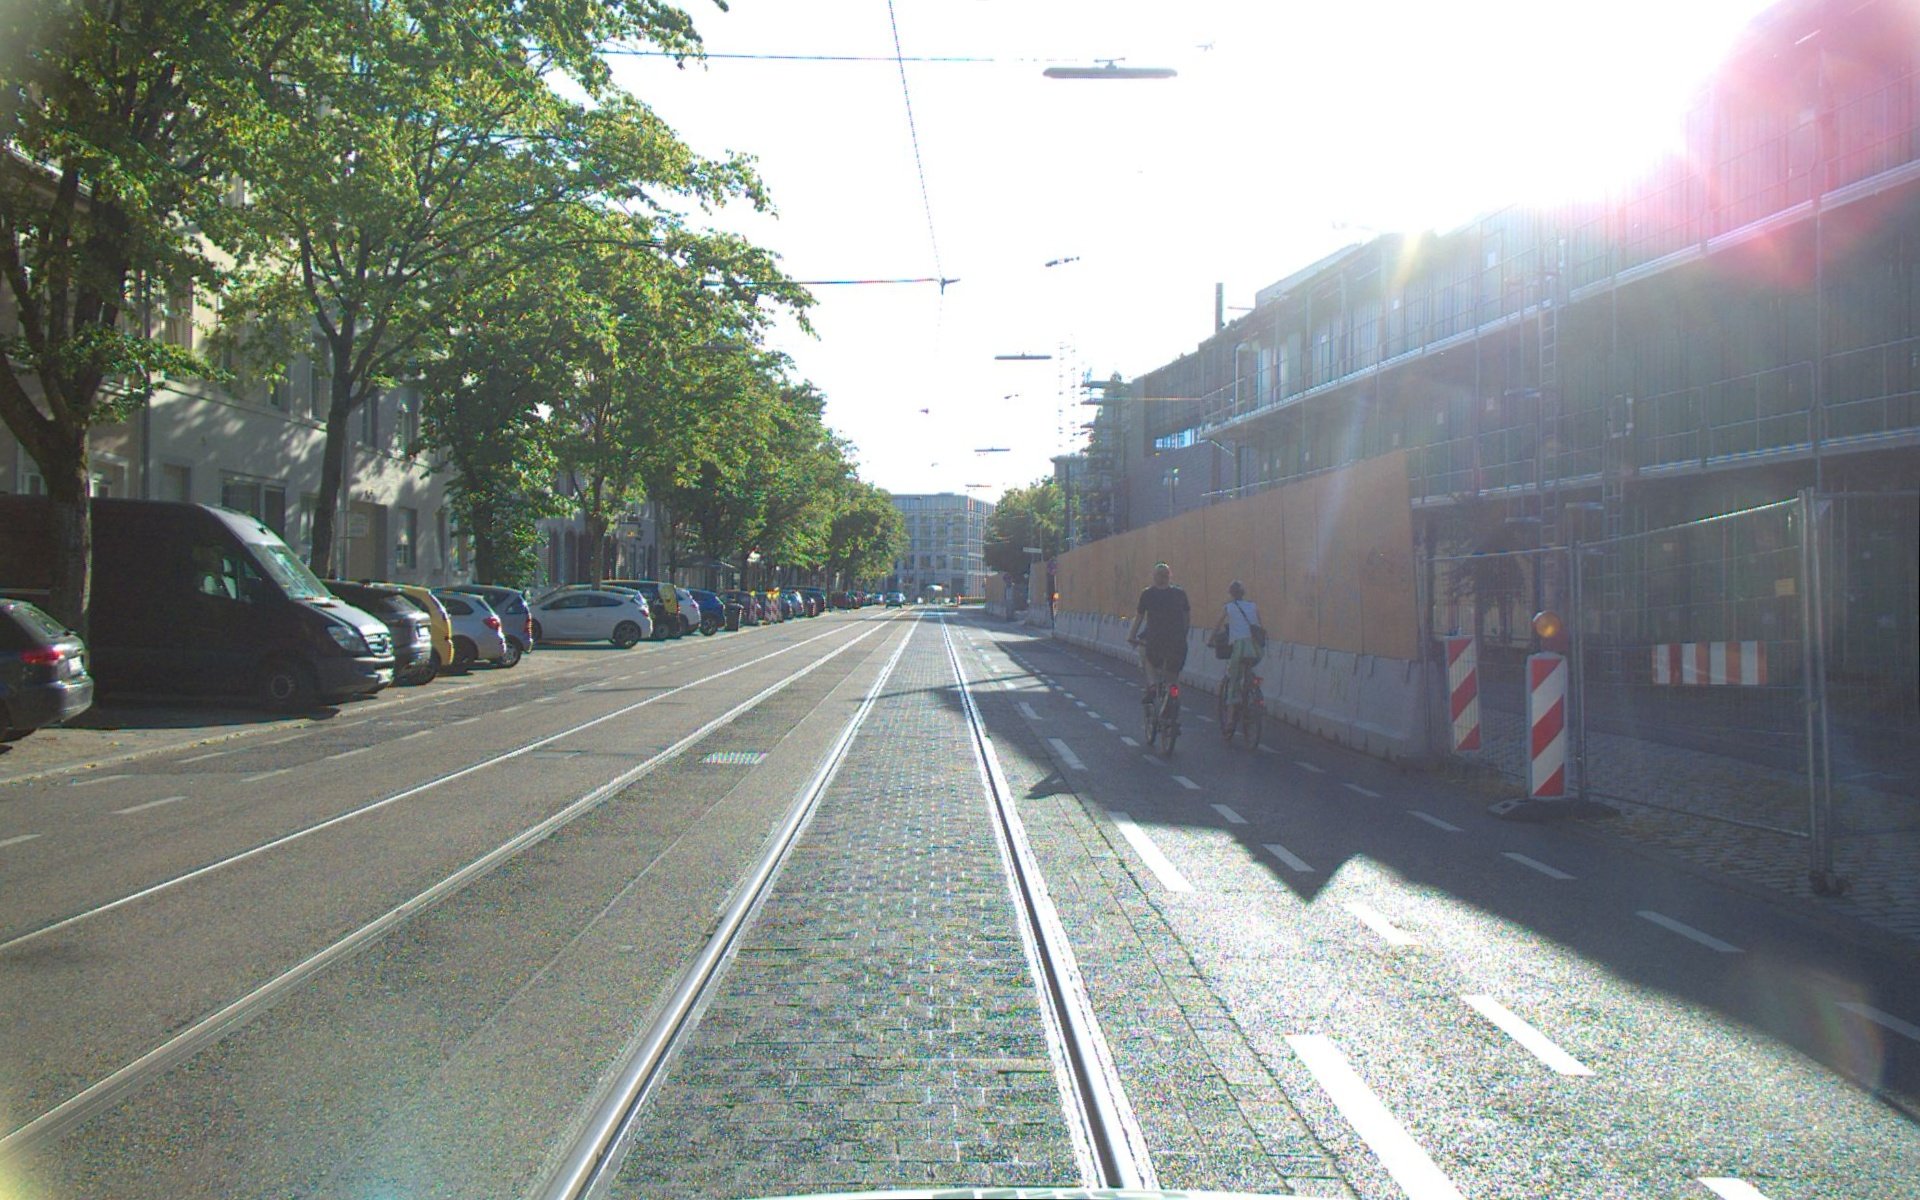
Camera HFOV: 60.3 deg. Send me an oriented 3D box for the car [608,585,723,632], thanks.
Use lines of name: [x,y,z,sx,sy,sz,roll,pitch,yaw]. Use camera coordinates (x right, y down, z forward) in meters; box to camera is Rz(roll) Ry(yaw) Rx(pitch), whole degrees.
car: [-10.620,0.284,59.742,3.862,1.637,1.552,0,0,-38]

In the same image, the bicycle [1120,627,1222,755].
bicycle: [2.153,0.898,17.148,0.654,1.175,2.275,2,0,-2]

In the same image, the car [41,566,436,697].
car: [-10.286,0.431,23.920,4.732,1.754,2.162,1,0,-3]

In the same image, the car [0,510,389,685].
car: [-10.003,-0.037,21.627,4.348,2.155,2.162,0,0,-3]

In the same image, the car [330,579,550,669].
car: [-10.575,0.471,33.814,3.906,1.706,1.702,1,0,-1]

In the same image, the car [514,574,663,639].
car: [-11.093,0.208,49.431,3.946,1.685,1.792,3,0,-31]

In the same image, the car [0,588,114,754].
car: [-10.258,0.585,15.298,4.020,1.478,1.663,2,-1,-17]

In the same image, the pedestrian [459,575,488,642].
pedestrian: [-13.601,0.240,46.266,0.630,1.870,0.624,0,0,0]

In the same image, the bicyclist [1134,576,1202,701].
bicyclist: [2.126,0.388,16.921,0.638,1.259,0.353,0,0,-3]

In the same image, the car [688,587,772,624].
car: [-10.991,0.284,79.090,3.570,1.580,1.654,2,1,-27]

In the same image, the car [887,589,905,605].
car: [-7.152,-0.339,183.927,1.889,1.657,4.248,-2,1,-2]

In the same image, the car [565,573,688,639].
car: [-10.506,0.218,52.138,3.404,1.875,1.713,3,-4,-34]

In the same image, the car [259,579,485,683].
car: [-9.801,0.497,27.635,3.331,1.579,1.370,0,3,-32]

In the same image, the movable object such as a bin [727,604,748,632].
movable object such as a bin: [-8.907,0.720,66.335,0.670,1.096,0.710,4,0,0]

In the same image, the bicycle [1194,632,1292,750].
bicycle: [3.048,0.948,18.007,0.546,1.146,2.274,0,0,-3]

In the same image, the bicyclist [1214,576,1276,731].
bicyclist: [3.069,0.565,17.859,0.545,1.641,0.576,0,0,-3]

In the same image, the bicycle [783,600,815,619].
bicycle: [-10.435,0.599,107.044,1.936,1.164,0.490,3,-1,-19]

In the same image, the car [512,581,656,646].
car: [-10.295,0.370,45.228,3.583,1.556,1.875,3,-1,-21]

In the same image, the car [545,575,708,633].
car: [-11.017,0.145,54.772,4.899,1.826,2.175,1,0,-43]

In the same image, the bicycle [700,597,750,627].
bicycle: [-9.962,0.507,70.059,1.962,1.106,0.567,5,0,1]

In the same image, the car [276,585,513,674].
car: [-10.520,0.526,31.012,4.092,1.579,1.695,0,0,-17]
